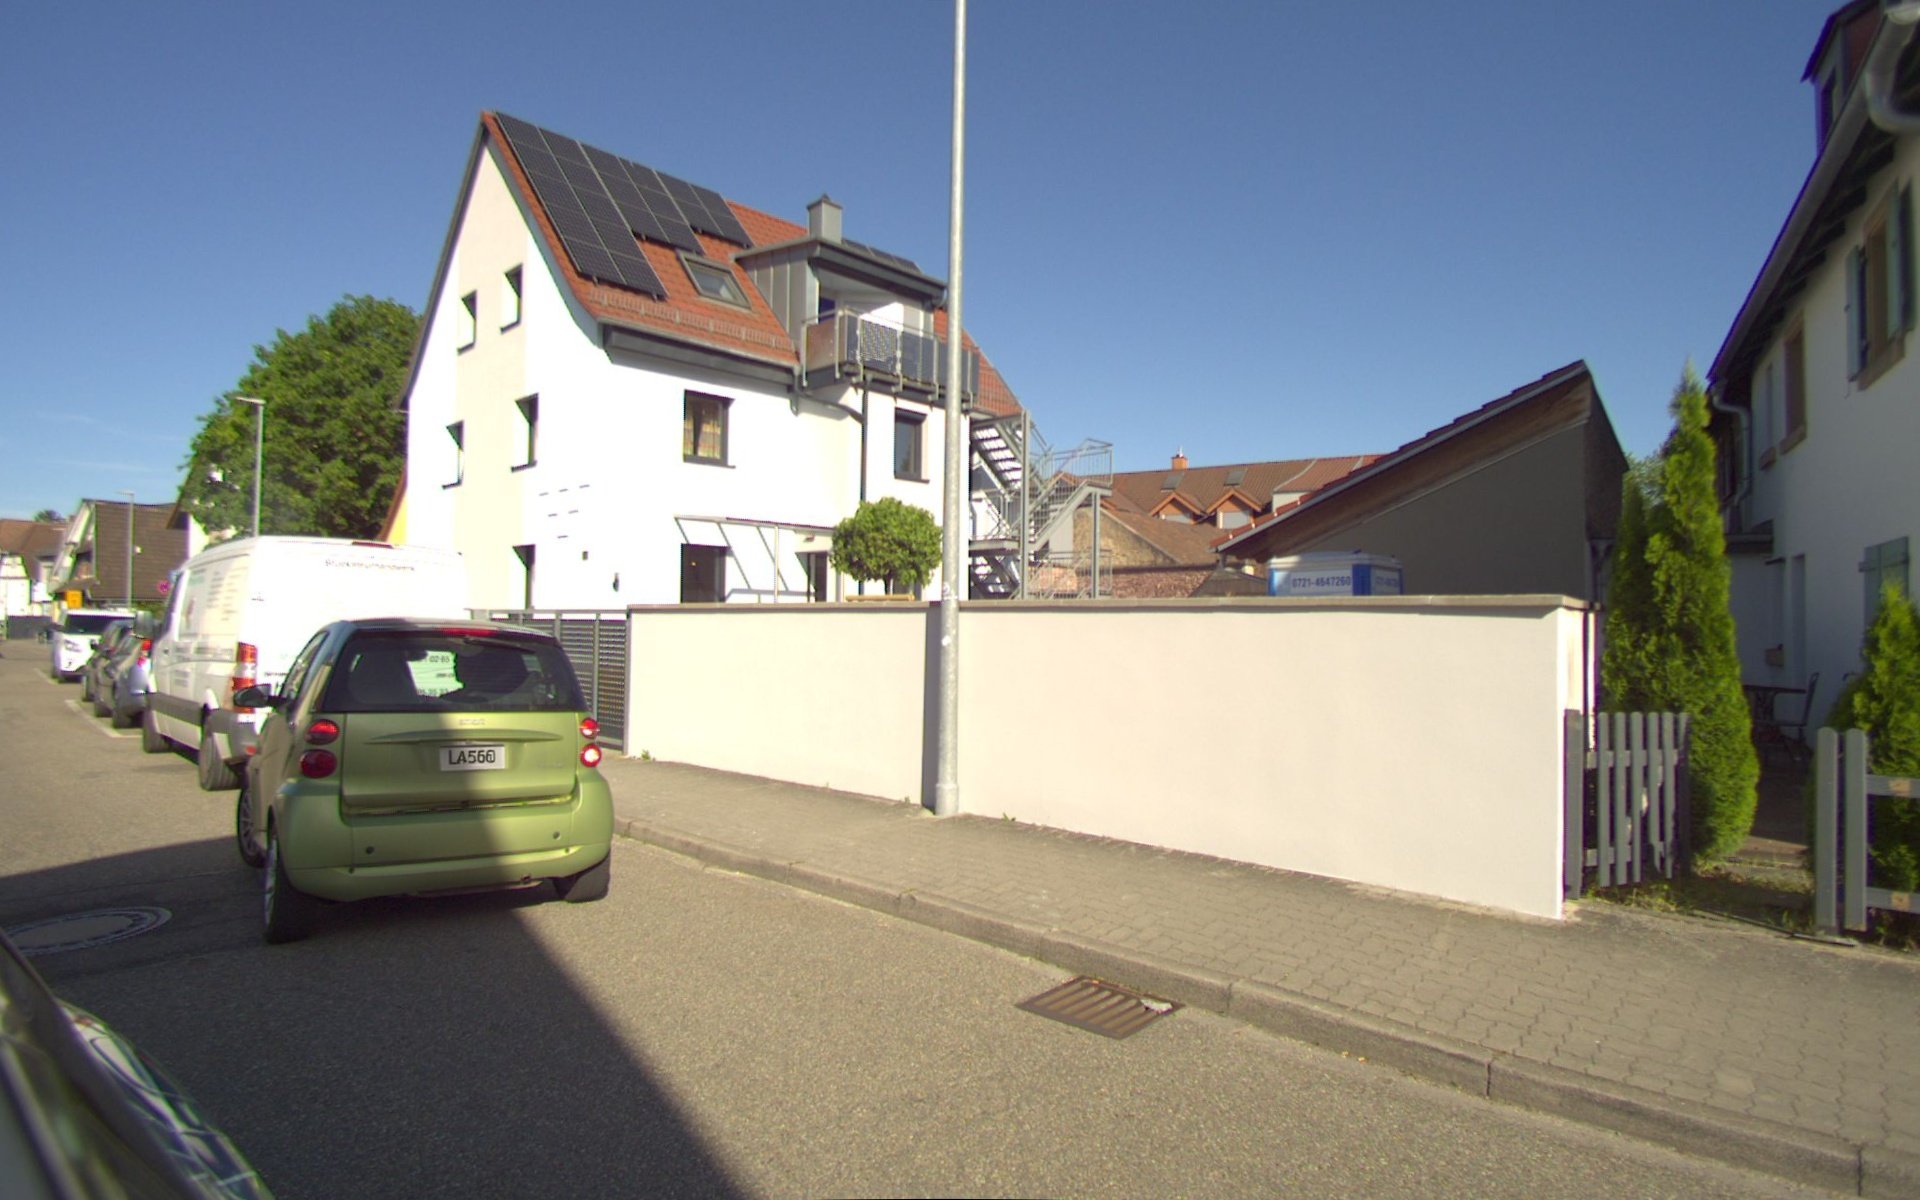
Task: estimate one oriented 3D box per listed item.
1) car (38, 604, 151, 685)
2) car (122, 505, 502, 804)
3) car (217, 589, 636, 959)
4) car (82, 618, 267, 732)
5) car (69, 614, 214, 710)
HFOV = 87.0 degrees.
[{"bbox_3d":[-22.868,1.127,26.665,1.880,1.932,5.073,3,-3,-44],"label":"car"},{"bbox_3d":[-7.344,0.545,11.084,2.171,2.408,6.067,4,-4,-45],"label":"car"},{"bbox_3d":[-3.253,0.803,5.931,1.554,1.558,2.971,4,-4,-39],"label":"car"},{"bbox_3d":[-12.194,1.074,15.603,1.692,1.516,4.237,4,-4,-45],"label":"car"},{"bbox_3d":[-15.428,1.097,19.004,1.695,1.610,3.928,3,-3,-44],"label":"car"}]
